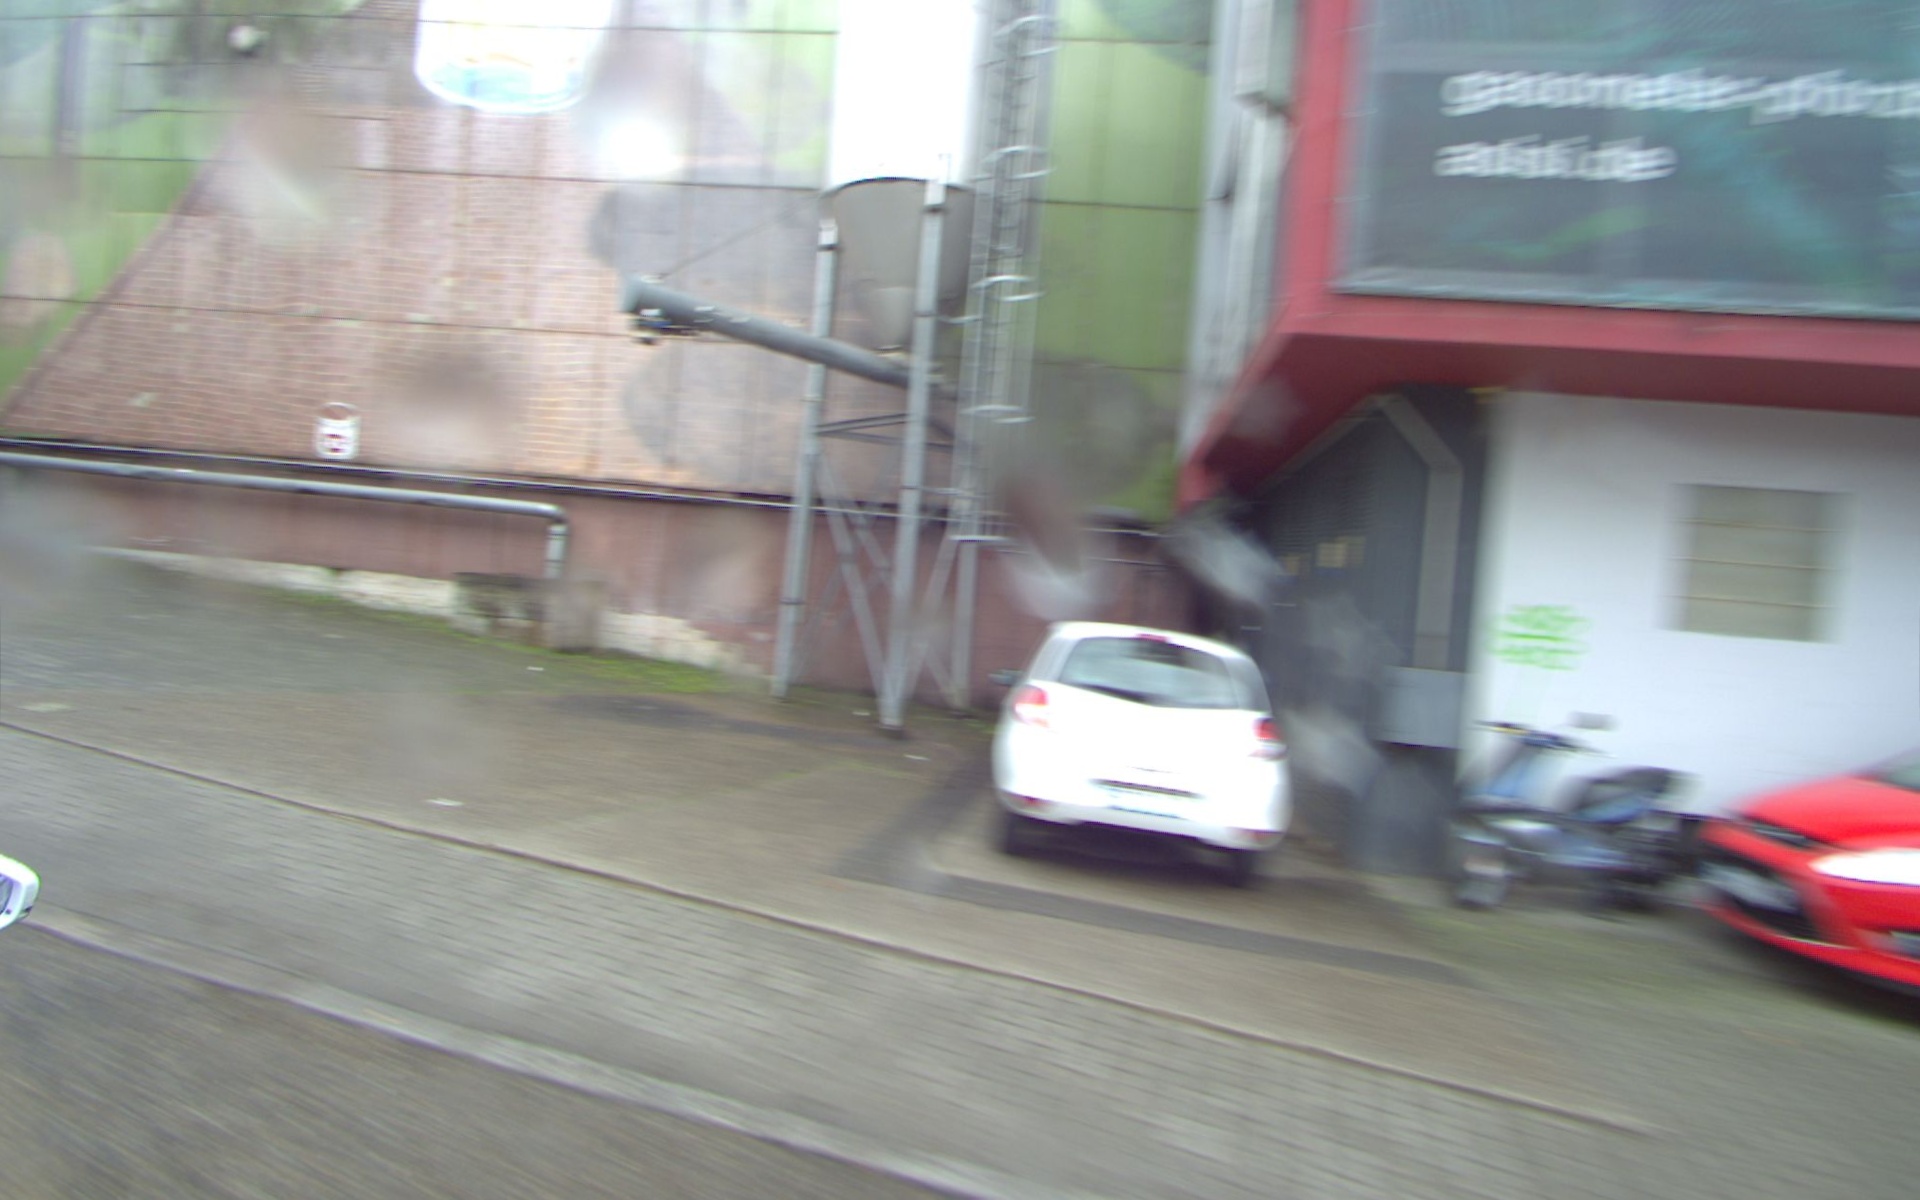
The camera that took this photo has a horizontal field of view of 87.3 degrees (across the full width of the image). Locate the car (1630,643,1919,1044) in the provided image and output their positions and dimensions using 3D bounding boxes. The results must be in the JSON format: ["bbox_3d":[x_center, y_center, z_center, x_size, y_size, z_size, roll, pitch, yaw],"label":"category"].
[{"bbox_3d":[6.400,1.330,5.150,4.405,1.733,1.933,6,0,8],"label":"car"}]

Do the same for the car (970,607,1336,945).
[{"bbox_3d":[1.217,0.980,7.525,1.839,1.553,3.990,6,2,5],"label":"car"}]

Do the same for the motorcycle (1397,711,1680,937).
[{"bbox_3d":[3.501,1.346,6.128,1.397,1.175,0.452,6,0,-5],"label":"motorcycle"}]
